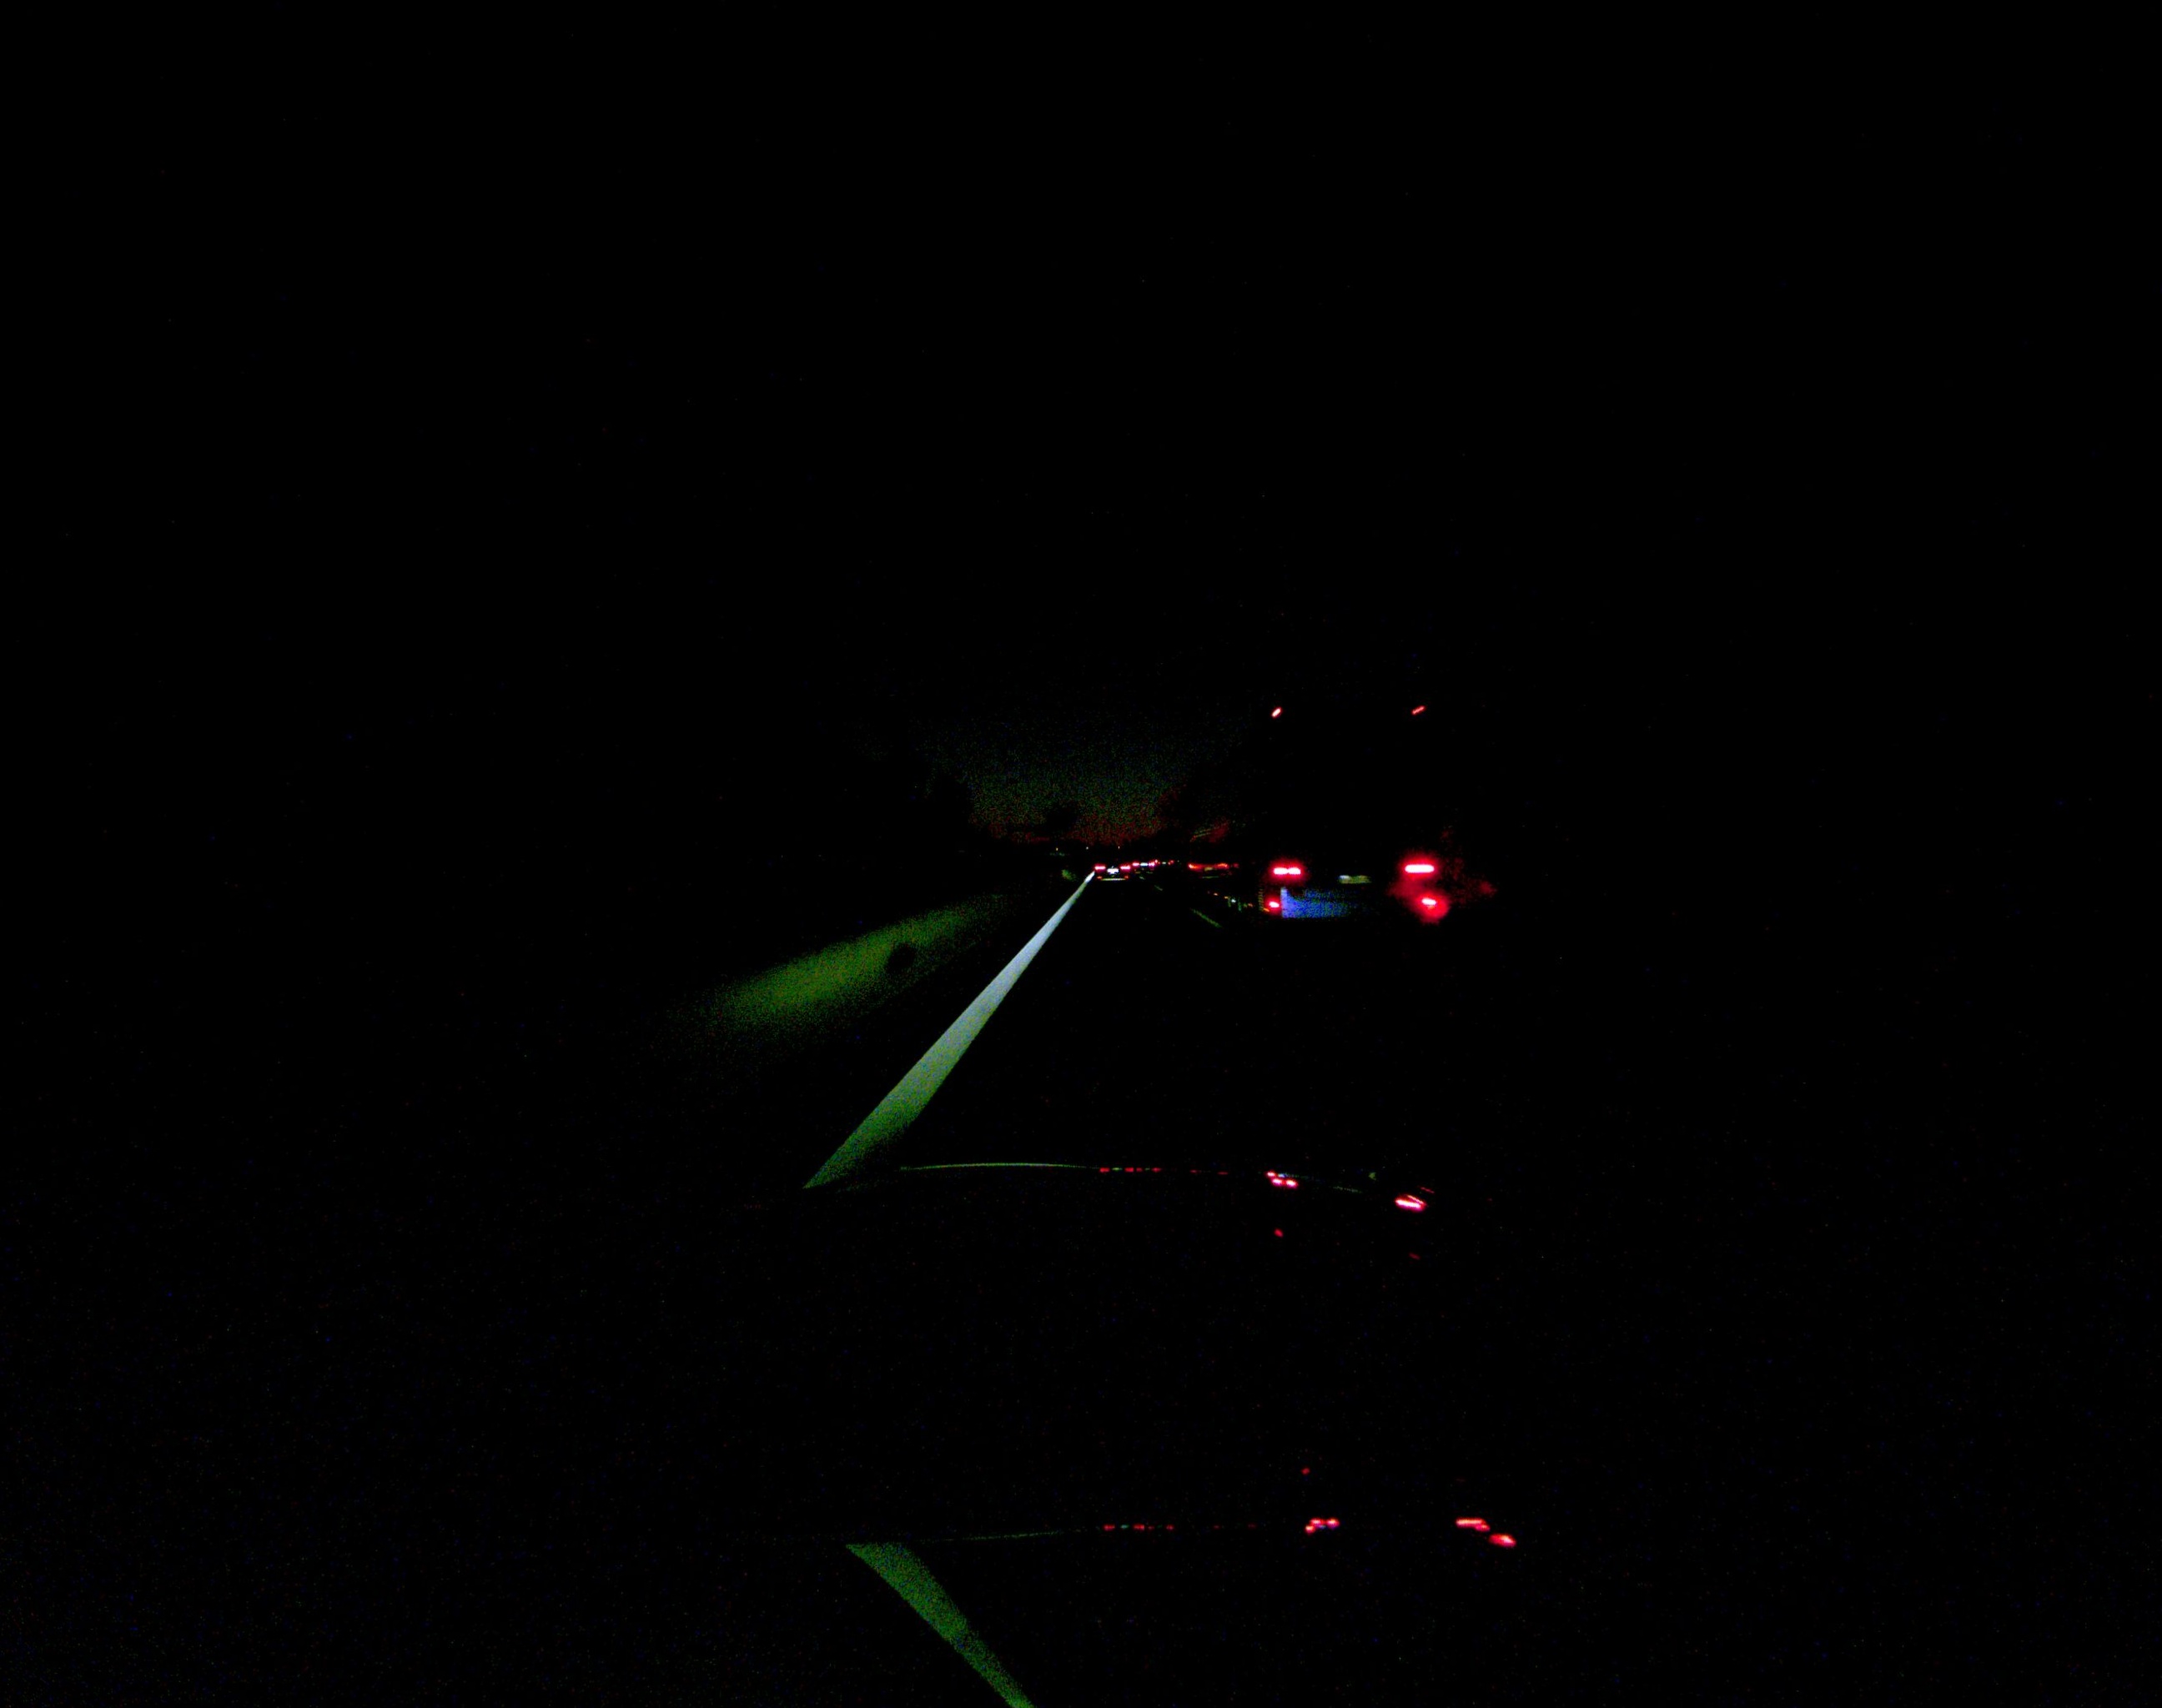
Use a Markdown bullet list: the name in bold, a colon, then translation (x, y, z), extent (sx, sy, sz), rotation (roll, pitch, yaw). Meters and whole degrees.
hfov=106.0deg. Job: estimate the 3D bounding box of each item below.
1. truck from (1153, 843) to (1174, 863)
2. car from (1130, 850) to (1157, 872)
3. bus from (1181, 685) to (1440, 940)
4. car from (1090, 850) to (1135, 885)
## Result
- **truck**: translation (12.570, -0.108, 124.454), extent (2.593, 2.875, 7.486), rotation (1, 0, 1)
- **car**: translation (4.961, 0.544, 65.187), extent (1.905, 1.730, 3.999), rotation (0, -1, 0)
- **bus**: translation (4.496, -0.591, 20.107), extent (2.642, 3.994, 14.706), rotation (0, -1, 2)
- **car**: translation (1.478, 0.646, 40.115), extent (2.099, 1.618, 4.204), rotation (1, -1, 0)
